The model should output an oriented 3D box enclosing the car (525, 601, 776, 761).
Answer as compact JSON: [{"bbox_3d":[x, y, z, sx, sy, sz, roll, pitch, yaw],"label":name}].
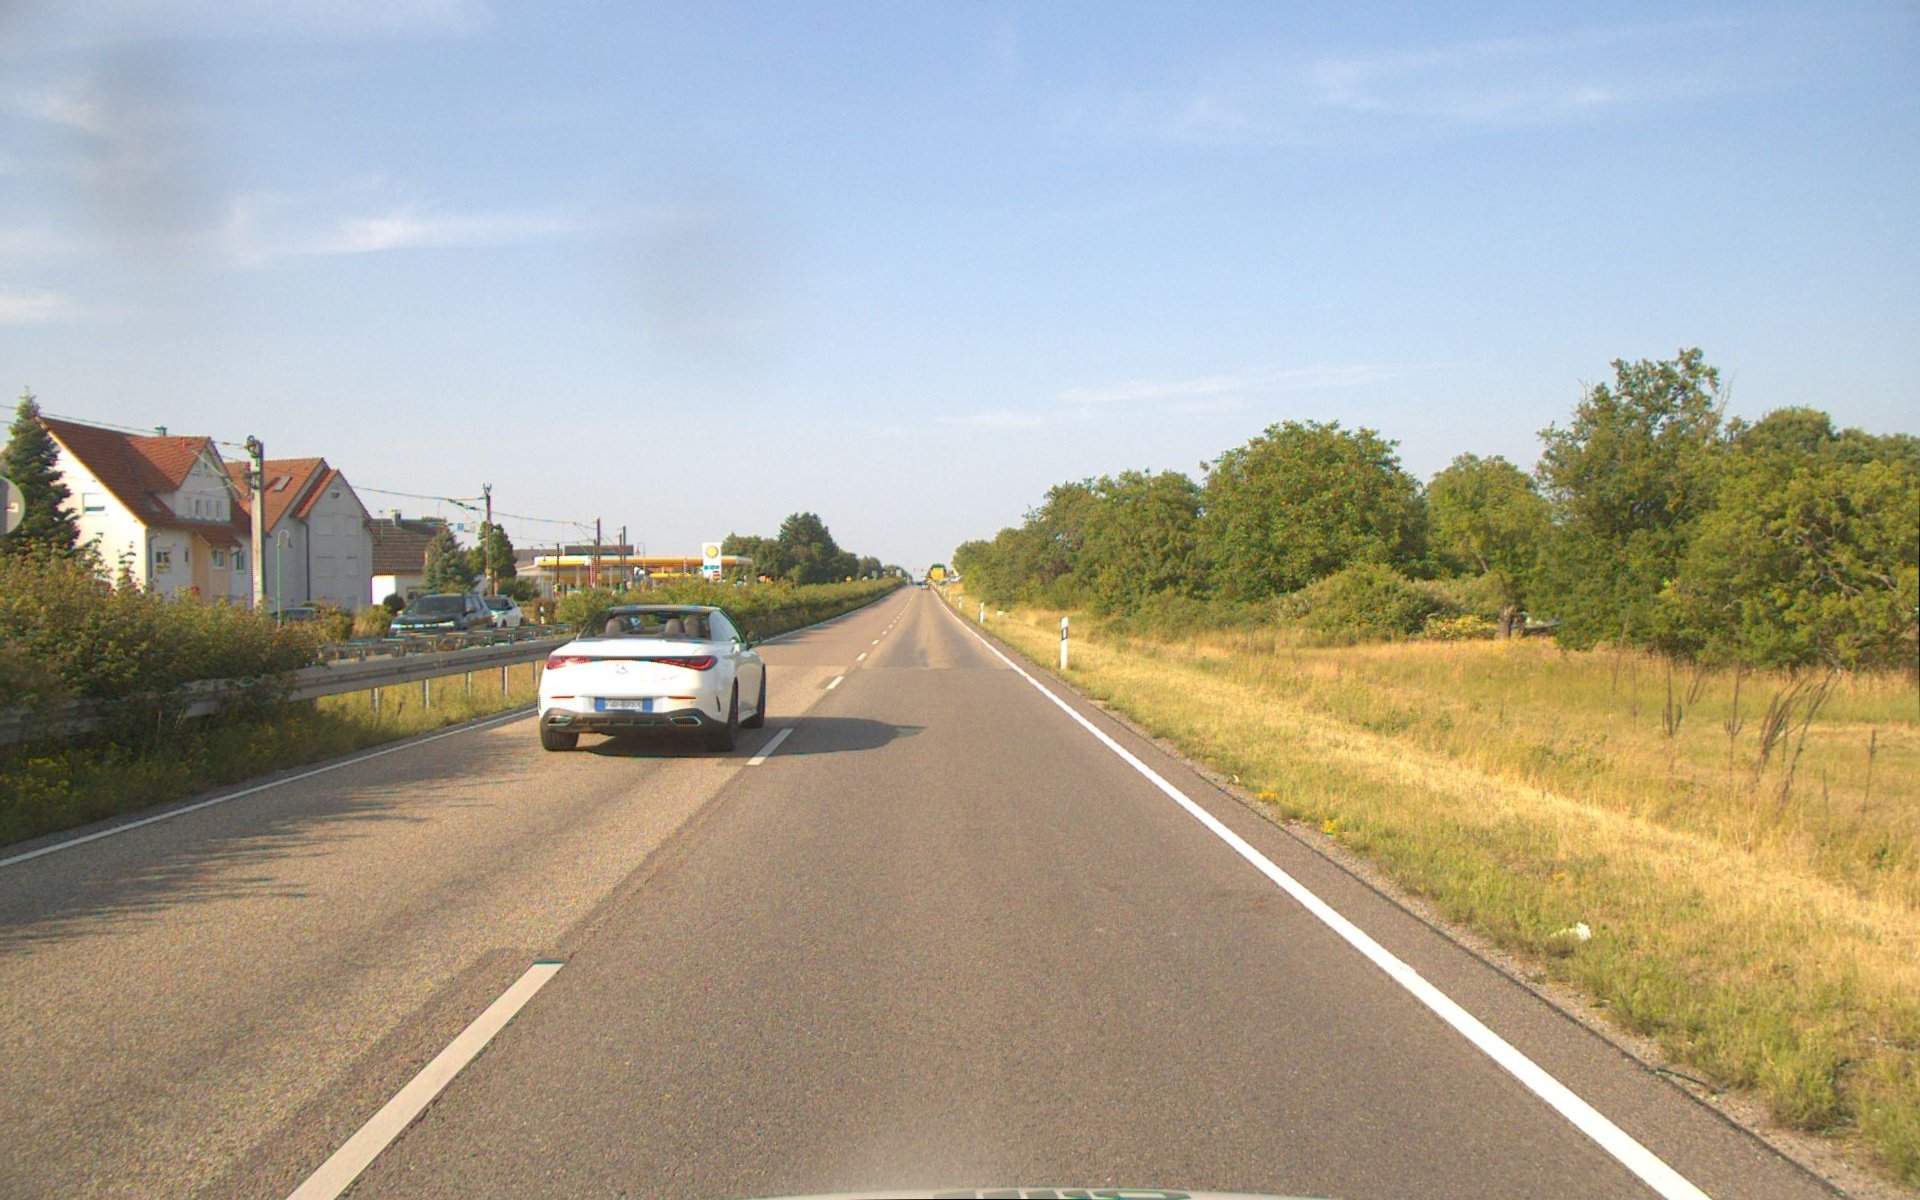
[{"bbox_3d":[-3.021,0.726,17.164,1.735,1.361,4.949,1,0,-1],"label":"car"}]

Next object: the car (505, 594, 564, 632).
[{"bbox_3d":[-21.113,0.630,82.223,1.953,1.780,3.999,1,0,-2],"label":"car"}]

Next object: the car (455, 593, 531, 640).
[{"bbox_3d":[-17.371,0.593,61.717,1.680,1.640,4.445,1,0,-2],"label":"car"}]

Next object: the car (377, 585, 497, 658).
[{"bbox_3d":[-13.266,0.503,42.203,1.694,1.662,4.318,-3,0,-2],"label":"car"}]

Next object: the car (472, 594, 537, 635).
[{"bbox_3d":[-21.032,0.641,76.475,1.953,1.780,3.999,1,0,-2],"label":"car"}]
